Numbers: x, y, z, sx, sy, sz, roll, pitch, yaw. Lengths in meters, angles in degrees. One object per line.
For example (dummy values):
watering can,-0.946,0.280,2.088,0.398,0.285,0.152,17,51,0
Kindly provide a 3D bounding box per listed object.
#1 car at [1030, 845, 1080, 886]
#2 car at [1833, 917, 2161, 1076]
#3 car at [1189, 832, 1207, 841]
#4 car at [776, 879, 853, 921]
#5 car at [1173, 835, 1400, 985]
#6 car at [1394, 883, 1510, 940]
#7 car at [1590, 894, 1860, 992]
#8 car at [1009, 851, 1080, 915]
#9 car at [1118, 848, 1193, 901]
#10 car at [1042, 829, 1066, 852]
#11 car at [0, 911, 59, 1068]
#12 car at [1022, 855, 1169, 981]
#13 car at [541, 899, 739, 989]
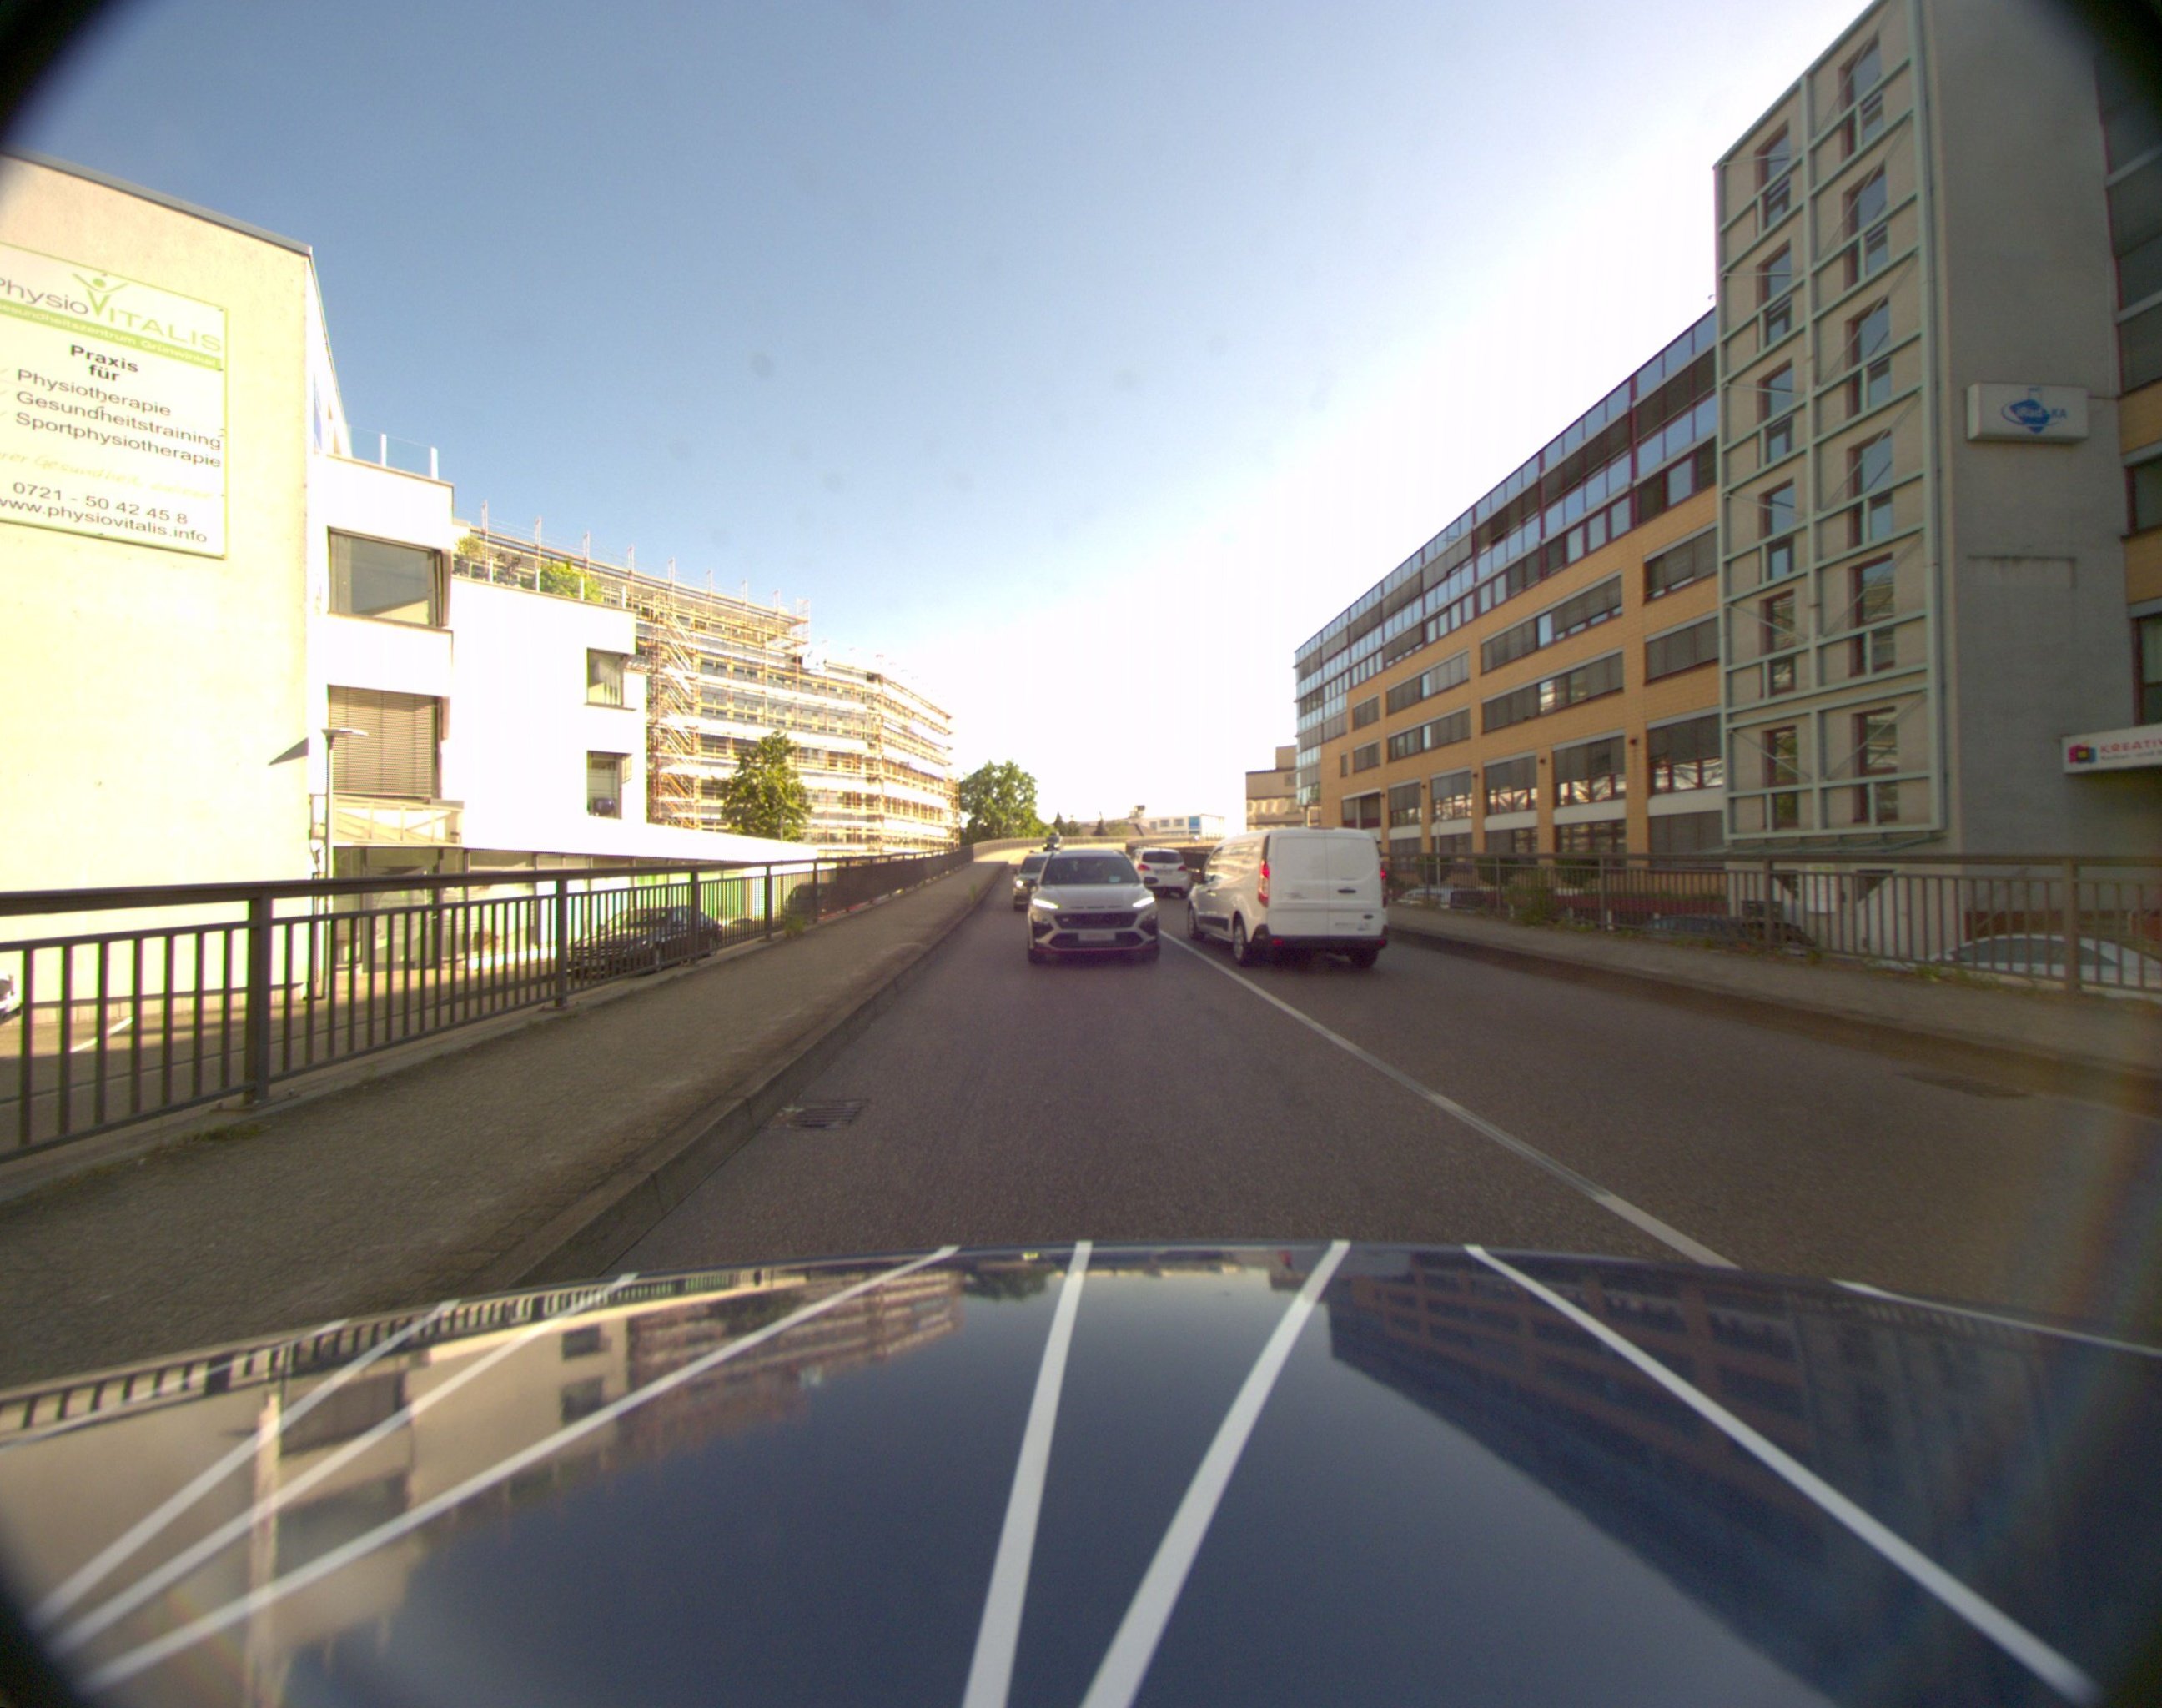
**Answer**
car,-1.090,0.414,31.241,1.849,1.527,4.506,-2,1,-3
car,13.445,1.814,10.410,1.825,1.594,4.356,0,-1,-4
car,21.098,-3.084,136.888,1.821,1.594,4.007,-1,0,30
car,-11.023,1.866,31.731,1.849,1.526,4.000,0,-1,-1
car,2.785,0.701,11.669,1.815,1.790,5.119,0,-1,-3
car,12.634,1.892,26.185,1.999,1.714,4.000,0,-1,-1
car,13.195,1.736,16.006,1.825,1.594,4.356,0,-1,-4
car,-0.929,0.709,20.928,1.721,1.483,4.168,-2,1,-1
car,2.414,0.628,25.568,1.825,1.594,3.998,-1,0,-4
car,-2.807,-1.523,81.436,1.908,2.202,4.597,-1,4,6
car,-15.019,1.707,8.053,4.658,1.757,1.823,-2,1,-41
car,0.123,0.818,11.832,1.849,1.561,4.220,-1,0,-2
car,-10.019,1.969,17.787,1.849,1.422,4.681,-2,1,0
